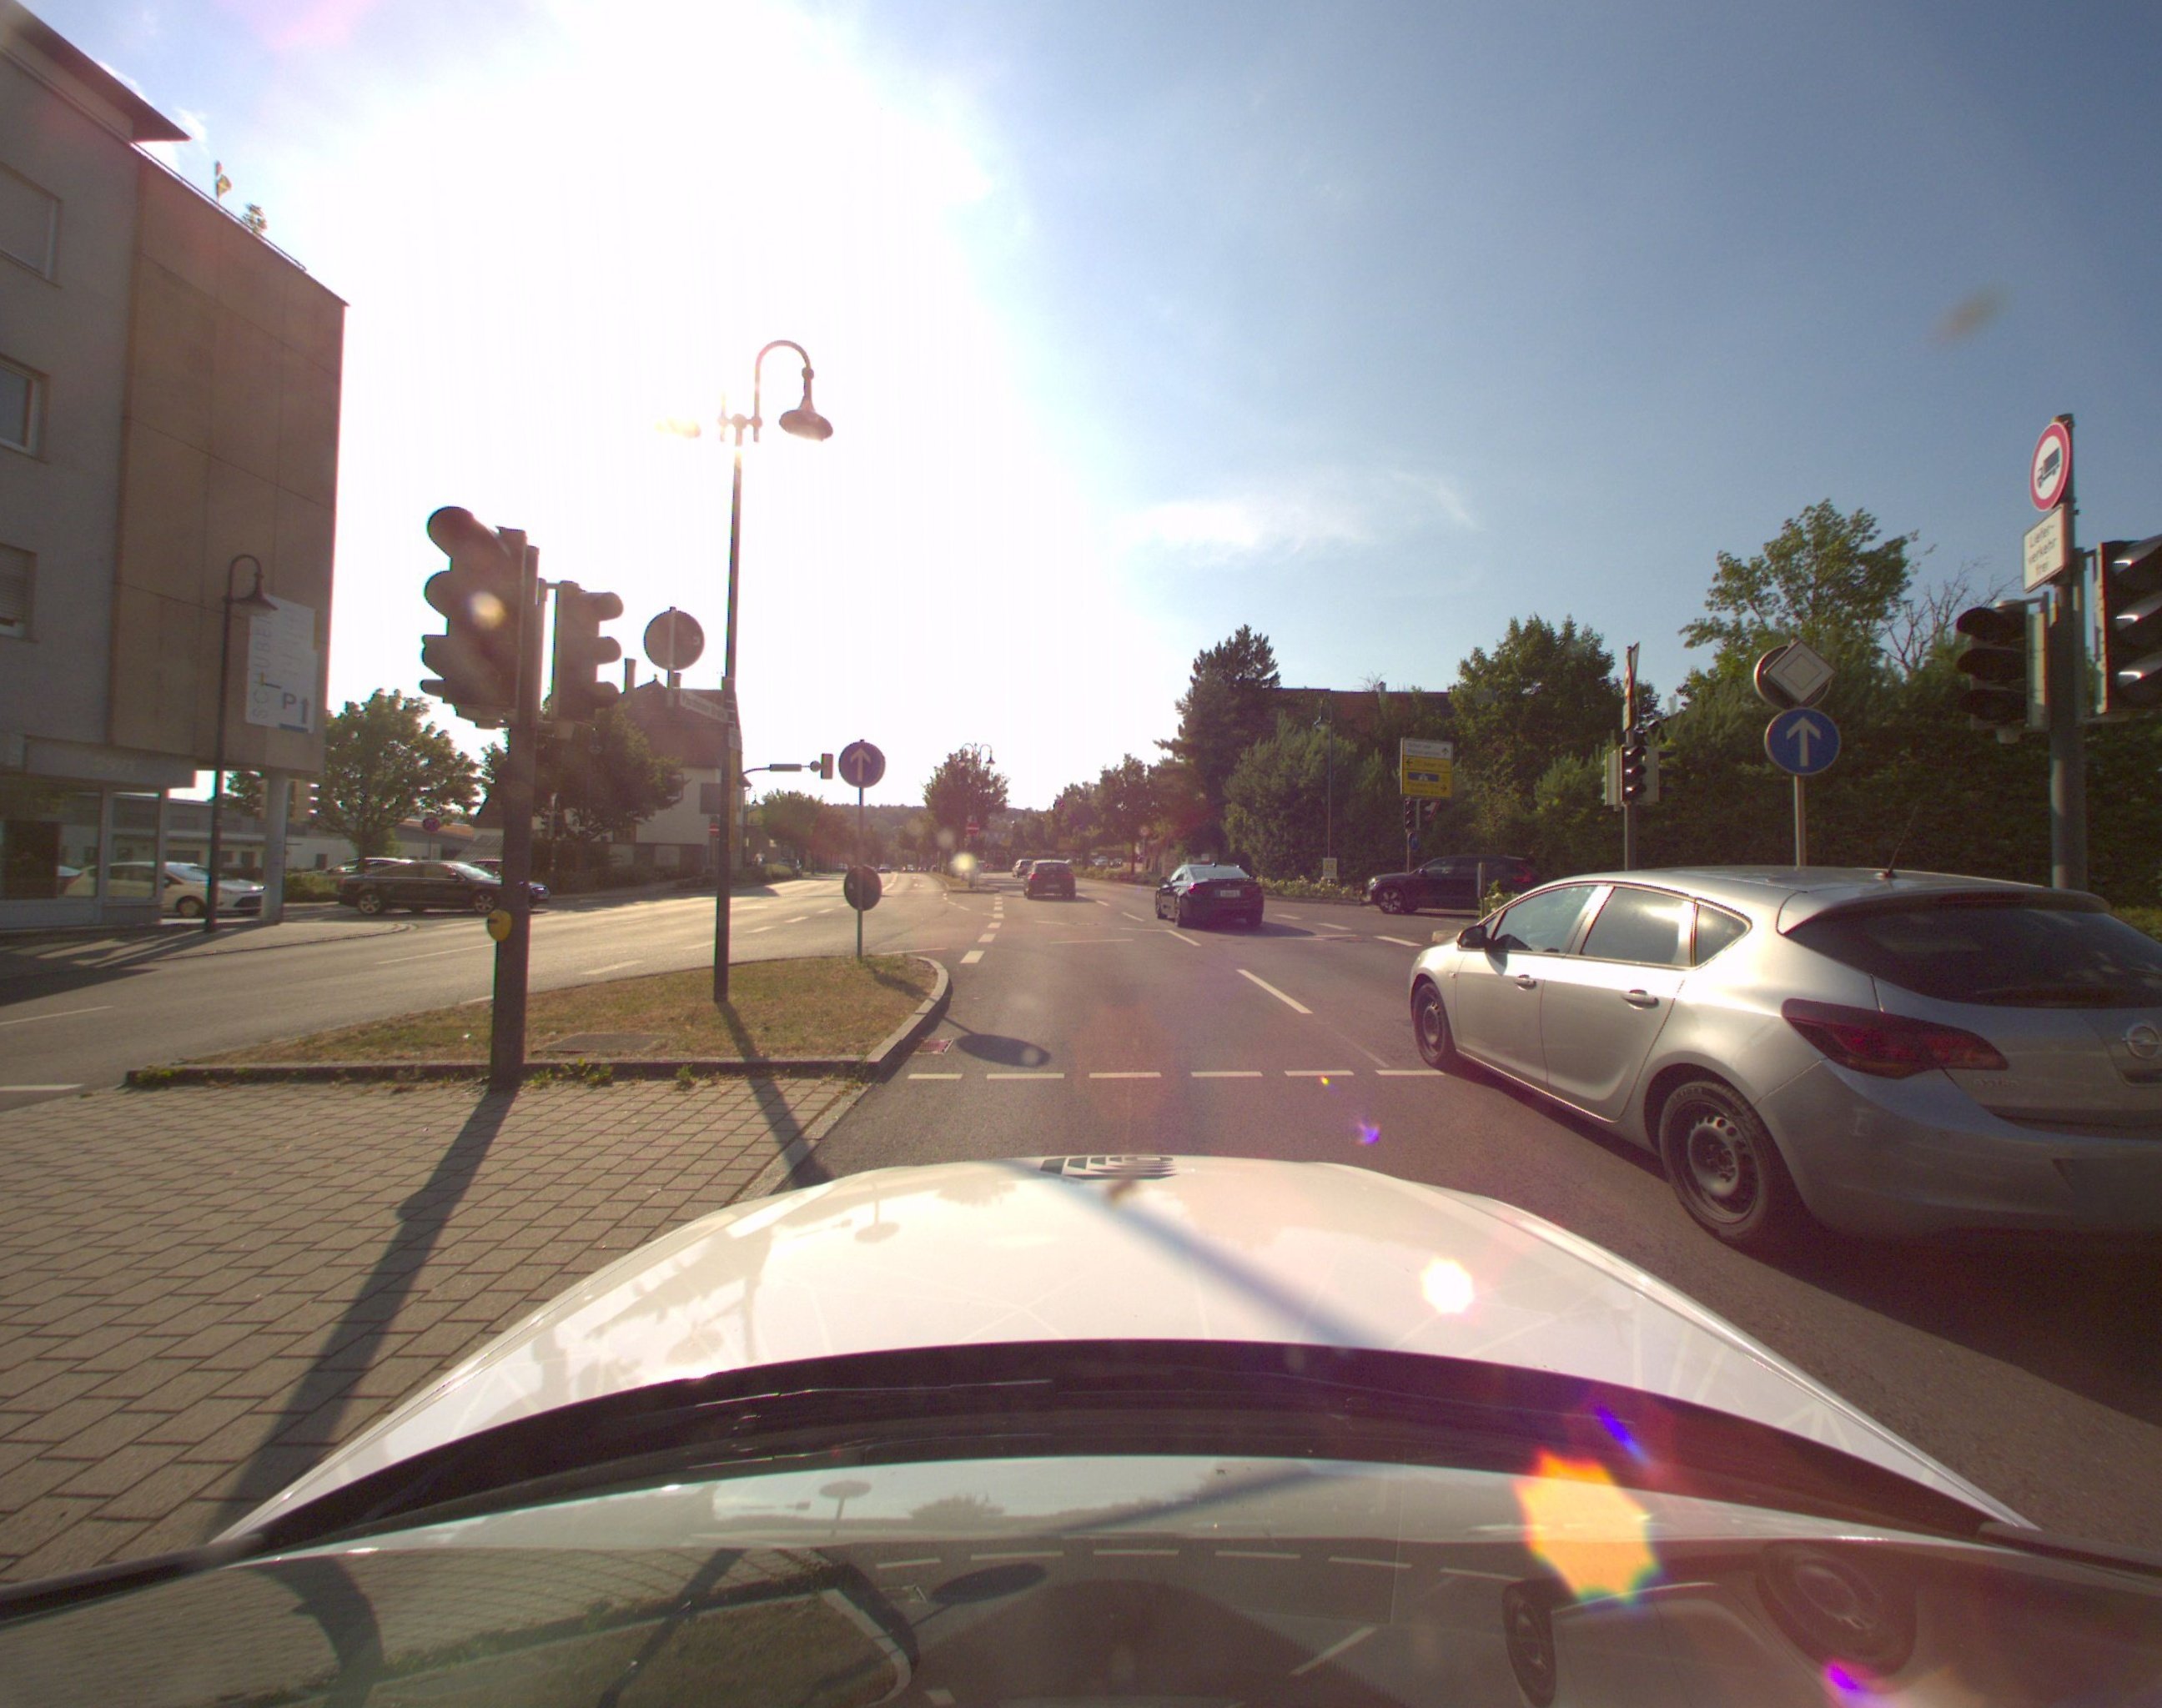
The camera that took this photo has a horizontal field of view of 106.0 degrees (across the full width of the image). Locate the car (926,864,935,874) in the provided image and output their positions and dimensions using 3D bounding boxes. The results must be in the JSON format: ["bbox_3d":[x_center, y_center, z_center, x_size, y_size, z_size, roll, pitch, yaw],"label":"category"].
[{"bbox_3d":[-31.445,3.212,169.963,1.772,2.014,3.988,0,0,-8],"label":"car"}]

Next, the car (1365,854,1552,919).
[{"bbox_3d":[9.994,0.800,21.703,4.216,1.567,1.804,0,0,39],"label":"car"}]

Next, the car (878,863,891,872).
[{"bbox_3d":[-30.779,2.104,127.541,1.757,1.361,4.467,0,-1,-11],"label":"car"}]

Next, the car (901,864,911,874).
[{"bbox_3d":[-31.932,2.759,149.032,1.731,1.679,3.984,0,-1,-11],"label":"car"}]

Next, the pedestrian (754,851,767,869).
[{"bbox_3d":[-23.961,0.440,60.921,0.813,1.394,0.703,0,-1,-14],"label":"pedestrian"}]

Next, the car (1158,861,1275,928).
[{"bbox_3d":[2.983,0.852,18.879,1.915,1.364,4.350,0,-1,-1],"label":"car"}]

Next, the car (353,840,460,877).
[{"bbox_3d":[-30.448,0.194,36.857,3.292,1.639,1.739,0,-1,-15],"label":"car"}]

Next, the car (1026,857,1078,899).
[{"bbox_3d":[-1.185,0.867,31.040,1.718,1.490,4.344,0,-1,-5],"label":"car"}]

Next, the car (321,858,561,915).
[{"bbox_3d":[-17.355,0.850,22.301,4.852,1.437,1.913,-1,-1,-6],"label":"car"}]

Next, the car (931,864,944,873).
[{"bbox_3d":[-27.378,2.722,155.020,2.219,1.769,4.434,0,-1,-13],"label":"car"}]

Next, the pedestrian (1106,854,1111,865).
[{"bbox_3d":[4.346,0.835,127.093,0.694,1.703,0.948,0,-1,-4],"label":"pedestrian"}]

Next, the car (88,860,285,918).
[{"bbox_3d":[-23.894,0.912,21.816,3.787,1.437,1.874,-1,-1,12],"label":"car"}]

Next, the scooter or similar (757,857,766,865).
[{"bbox_3d":[-23.509,0.513,59.974,0.444,0.582,1.039,0,0,-14],"label":"scooter or similar"}]

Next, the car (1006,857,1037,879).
[{"bbox_3d":[-4.976,1.165,67.549,1.927,1.769,4.434,0,-1,-13],"label":"car"}]

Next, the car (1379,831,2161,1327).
[{"bbox_3d":[3.293,0.672,4.608,1.715,1.490,4.307,0,0,1],"label":"car"}]

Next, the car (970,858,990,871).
[{"bbox_3d":[-13.693,1.415,110.550,2.219,1.769,4.434,0,-1,-13],"label":"car"}]
